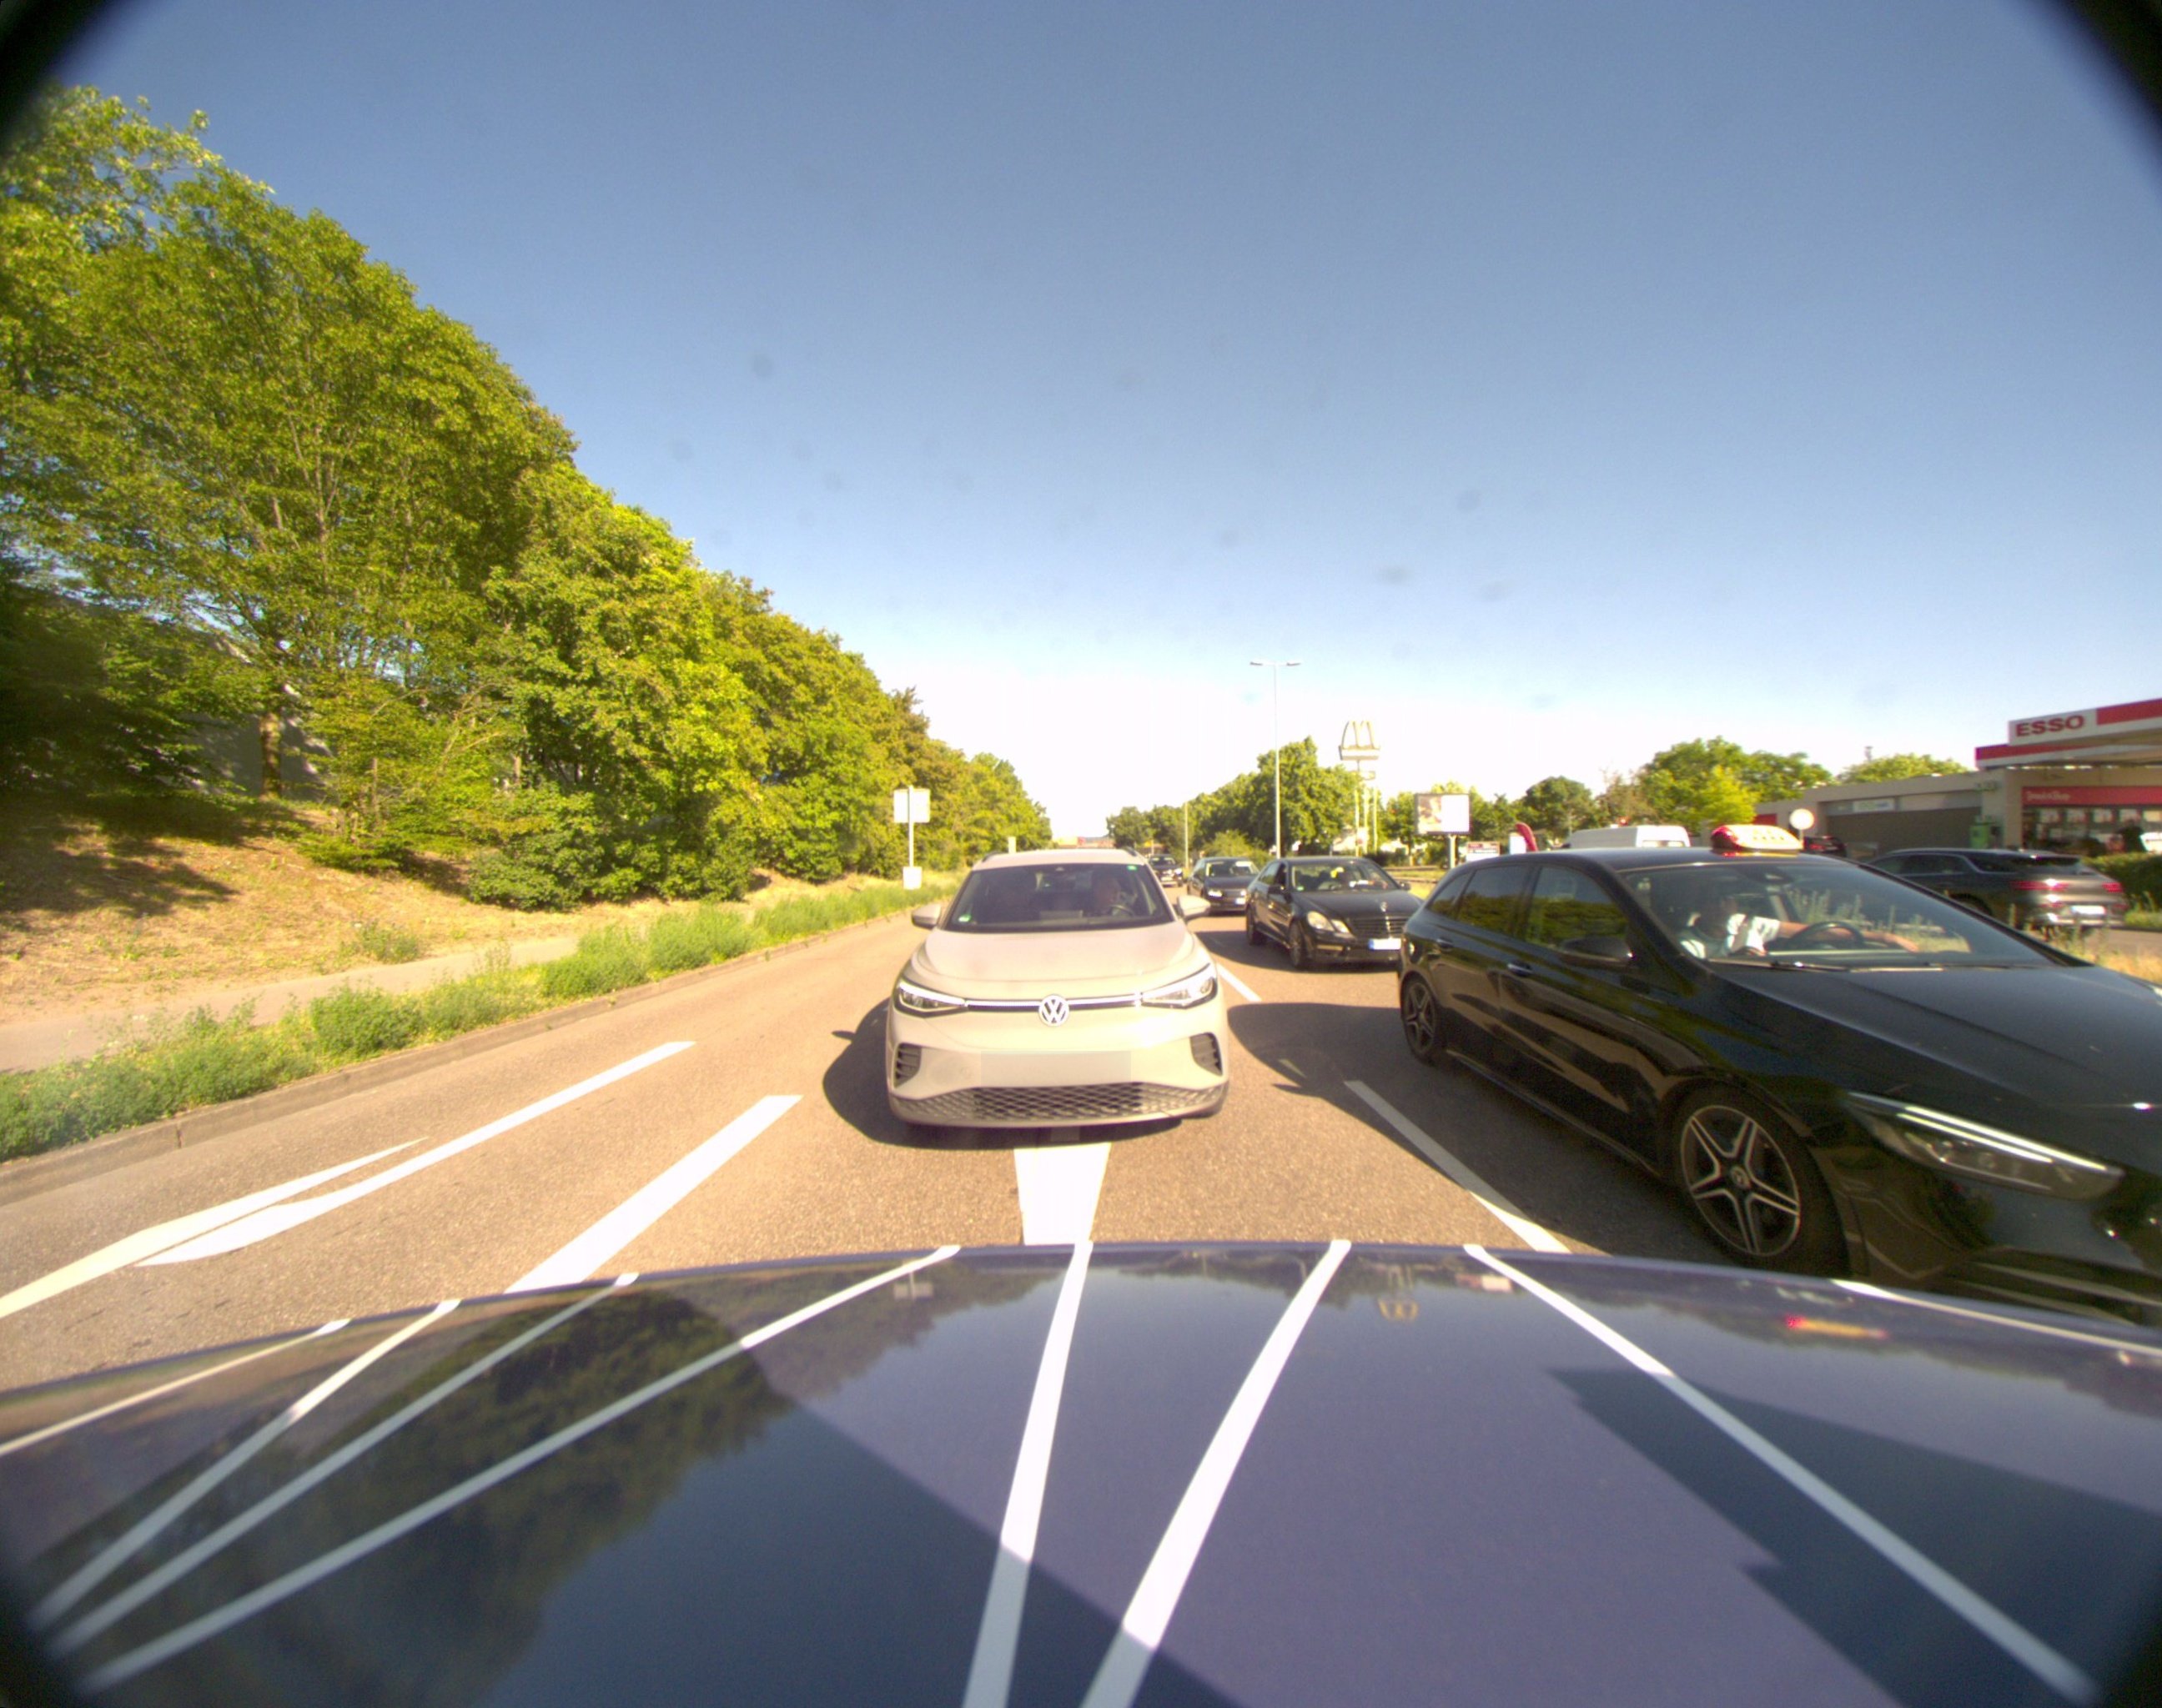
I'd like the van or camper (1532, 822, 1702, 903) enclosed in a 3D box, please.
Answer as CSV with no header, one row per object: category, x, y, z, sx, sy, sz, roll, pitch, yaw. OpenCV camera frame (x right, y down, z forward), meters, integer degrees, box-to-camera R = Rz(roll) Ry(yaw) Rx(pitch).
van or camper,19.425,0.279,28.012,1.999,2.635,5.956,1,0,0

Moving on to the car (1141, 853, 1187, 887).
car,4.154,0.772,38.560,1.862,1.578,4.403,-1,0,1

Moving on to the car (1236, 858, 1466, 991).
car,3.644,0.850,11.207,1.862,1.515,4.403,-1,0,1

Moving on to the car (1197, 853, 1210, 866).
car,20.688,0.929,128.473,1.998,2.002,4.001,-2,1,5

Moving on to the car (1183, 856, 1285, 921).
car,3.945,0.828,20.264,1.862,1.472,4.403,-1,0,1

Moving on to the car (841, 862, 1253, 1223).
car,-0.132,0.900,5.492,1.871,1.588,3.932,-2,0,1

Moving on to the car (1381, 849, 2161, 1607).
car,3.158,0.809,3.715,1.804,1.616,4.188,-1,0,2

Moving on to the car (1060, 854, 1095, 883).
car,-0.148,0.752,41.626,1.765,1.503,3.760,-2,0,1

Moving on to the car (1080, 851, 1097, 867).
car,1.096,0.756,111.786,2.289,2.274,5.381,-1,0,1

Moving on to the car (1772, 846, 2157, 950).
car,16.486,0.726,14.681,1.999,1.643,4.613,1,0,-1

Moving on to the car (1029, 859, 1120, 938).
car,-0.111,0.899,16.973,1.765,1.503,3.760,-2,0,1

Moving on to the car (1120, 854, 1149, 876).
car,3.966,0.797,57.098,1.862,1.578,4.403,-1,0,1

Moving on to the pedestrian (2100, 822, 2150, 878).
pedestrian,38.602,-0.139,28.109,0.703,2.002,0.840,-1,0,1

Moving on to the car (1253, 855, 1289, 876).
car,16.013,0.958,64.144,1.884,1.680,4.436,-1,0,0

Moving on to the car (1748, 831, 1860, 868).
car,37.701,-0.235,39.789,1.998,1.759,4.118,-2,0,2

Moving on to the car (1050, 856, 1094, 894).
car,-0.344,0.888,33.309,1.765,1.503,3.760,-2,0,1
